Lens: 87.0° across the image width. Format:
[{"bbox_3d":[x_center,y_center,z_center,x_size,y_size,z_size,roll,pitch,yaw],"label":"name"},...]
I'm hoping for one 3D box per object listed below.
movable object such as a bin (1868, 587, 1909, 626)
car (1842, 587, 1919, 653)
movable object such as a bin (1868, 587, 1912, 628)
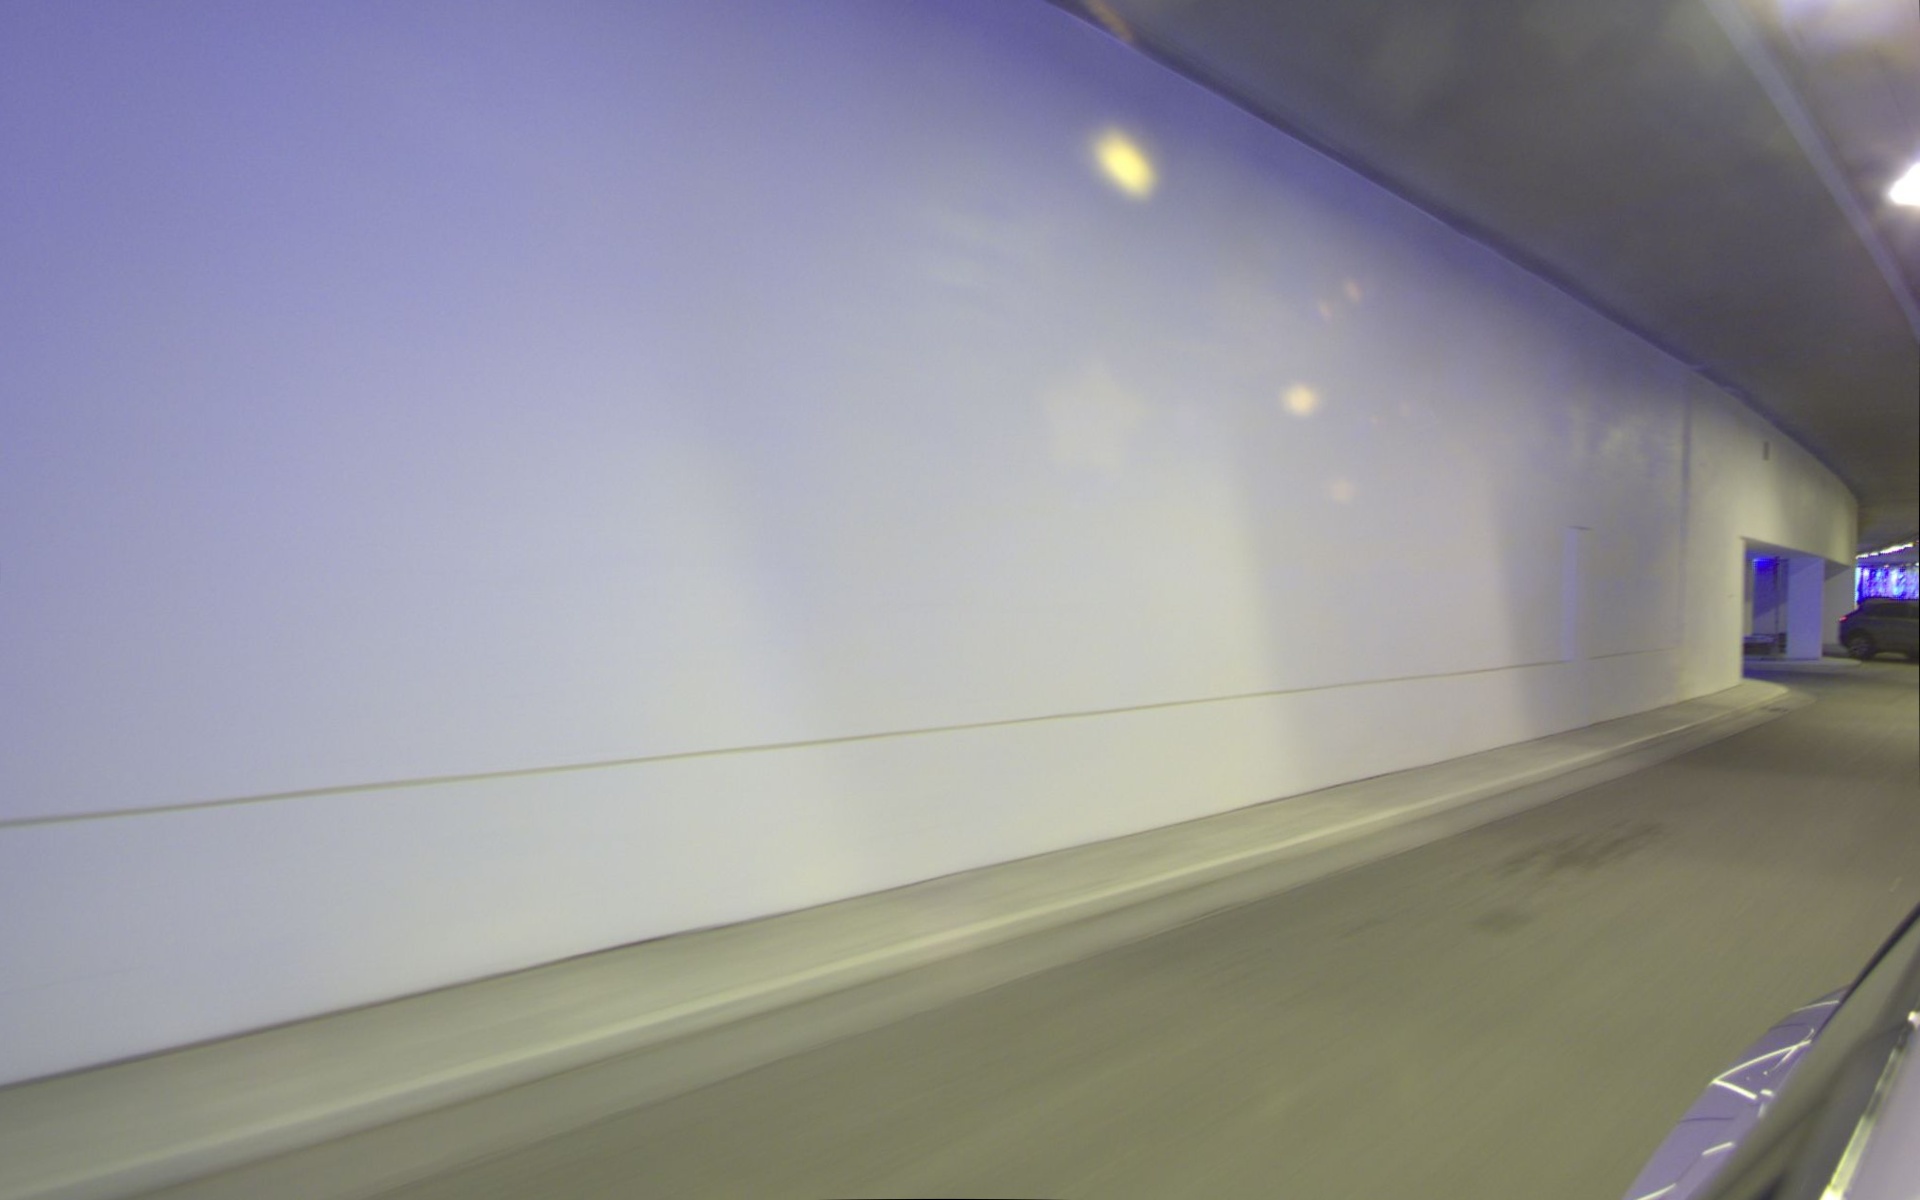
[{"bbox_3d":[35.777,0.234,39.008,1.096,1.463,1.302,1,1,41],"label":"movable object such as a bin"},{"bbox_3d":[23.835,0.487,24.023,1.860,1.565,4.245,0,1,-5],"label":"car"},{"bbox_3d":[34.867,0.259,37.963,1.144,1.463,1.344,1,1,41],"label":"movable object such as a bin"}]
